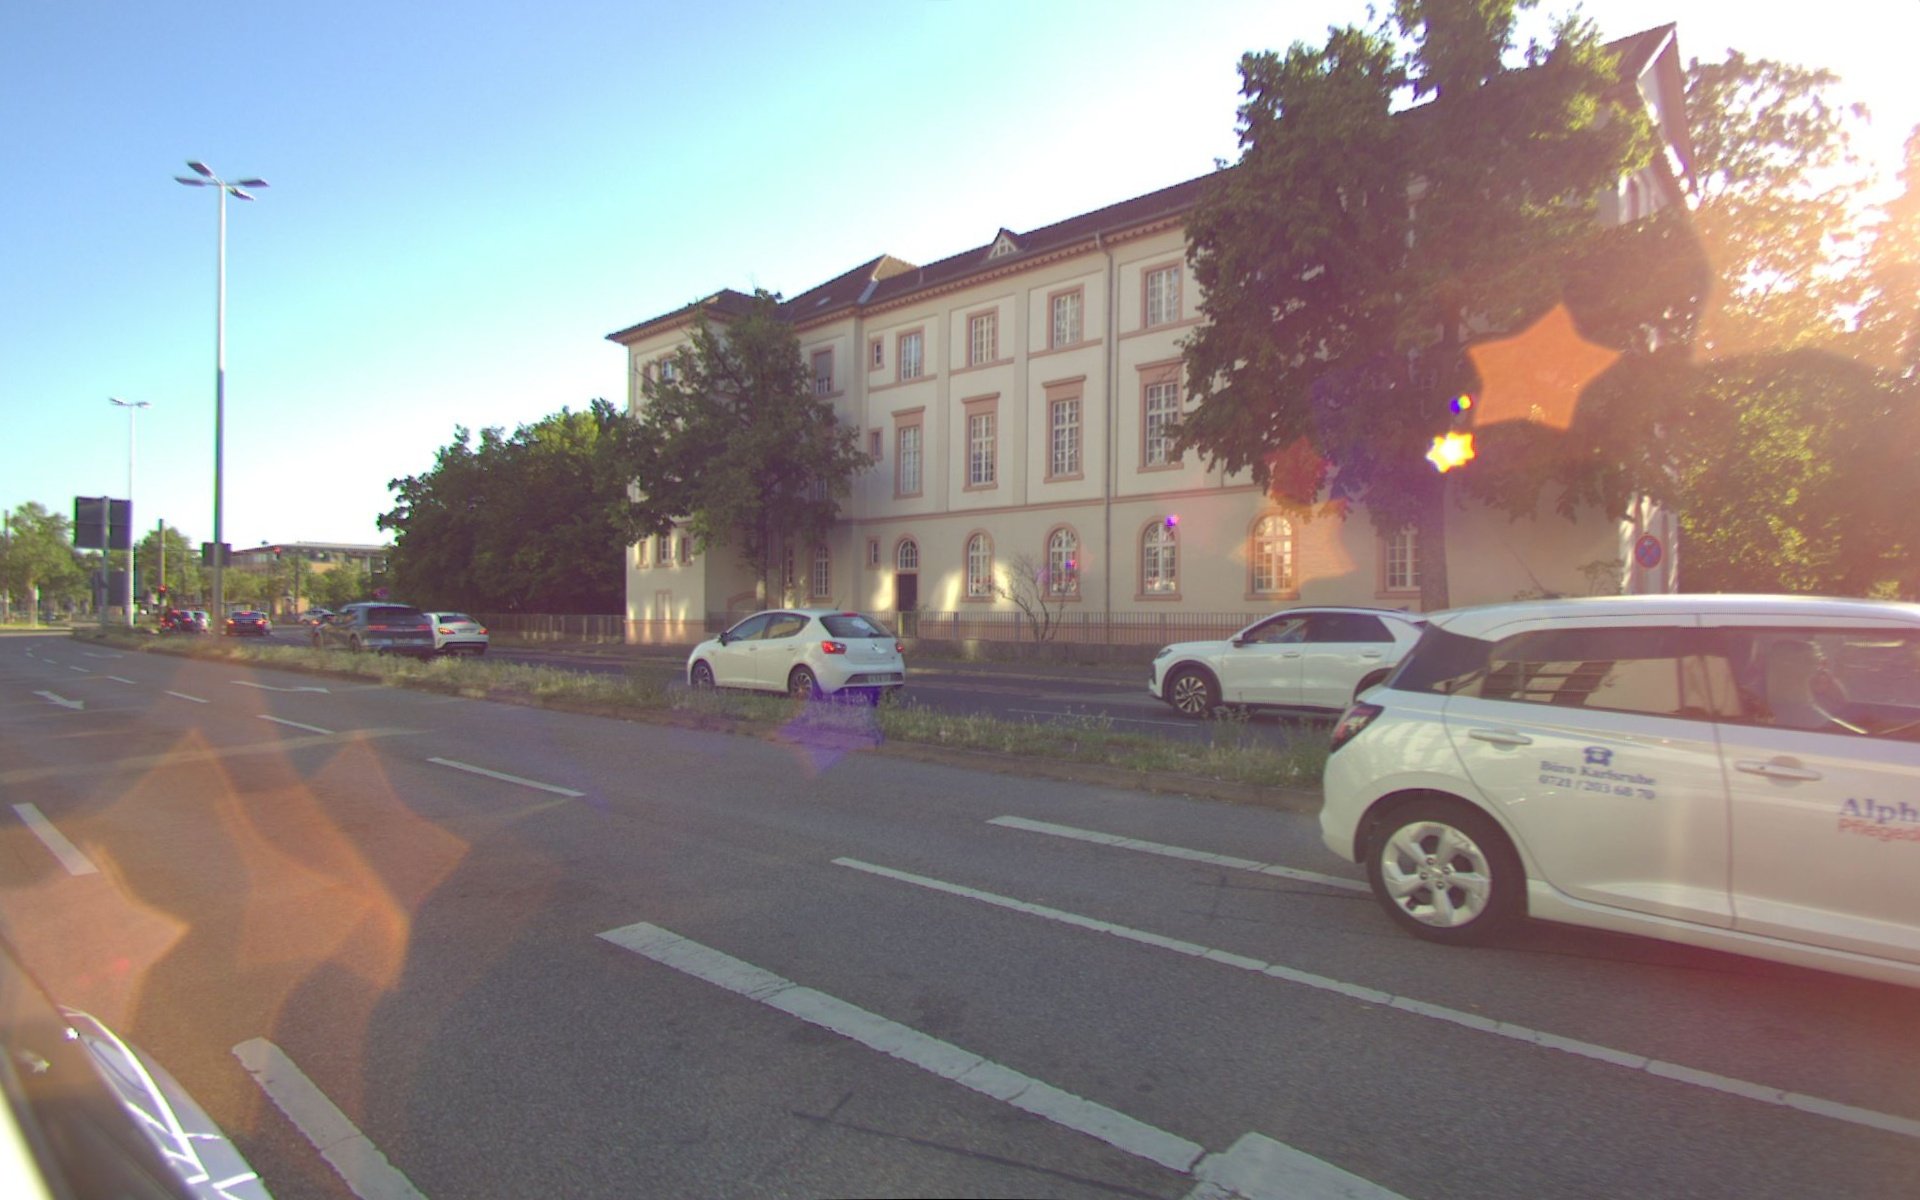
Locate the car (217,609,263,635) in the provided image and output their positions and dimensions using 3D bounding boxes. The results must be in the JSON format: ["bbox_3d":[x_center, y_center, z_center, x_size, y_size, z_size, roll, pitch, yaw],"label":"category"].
[{"bbox_3d":[-43.381,1.330,60.922,1.968,1.507,5.302,1,-2,-38],"label":"car"}]

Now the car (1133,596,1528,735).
[{"bbox_3d":[4.641,0.755,13.098,4.510,1.510,1.668,-1,-2,40],"label":"car"}]

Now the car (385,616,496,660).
[{"bbox_3d":[-17.942,1.283,34.862,4.443,1.424,1.972,-1,-2,42],"label":"car"}]

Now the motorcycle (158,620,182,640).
[{"bbox_3d":[-46.258,1.735,59.257,0.847,1.116,2.477,1,-2,-32],"label":"motorcycle"}]

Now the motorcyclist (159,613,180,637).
[{"bbox_3d":[-46.220,1.455,59.178,0.840,1.409,1.064,1,-2,-32],"label":"motorcyclist"}]

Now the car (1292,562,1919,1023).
[{"bbox_3d":[3.557,0.617,3.905,3.999,1.468,1.667,-1,-1,42],"label":"car"}]

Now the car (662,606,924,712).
[{"bbox_3d":[-2.628,0.820,15.371,4.178,1.403,1.667,-1,-2,41],"label":"car"}]

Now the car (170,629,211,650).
[{"bbox_3d":[-51.984,2.645,68.440,1.695,1.306,4.261,1,-1,-31],"label":"car"}]

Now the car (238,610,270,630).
[{"bbox_3d":[-47.043,1.327,67.470,1.695,1.329,3.904,1,-2,-34],"label":"car"}]

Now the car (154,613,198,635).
[{"bbox_3d":[-48.704,1.483,62.943,1.695,1.306,4.389,1,-1,-32],"label":"car"}]

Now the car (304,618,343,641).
[{"bbox_3d":[-41.193,1.894,65.503,1.829,1.475,4.009,0,-1,-37],"label":"car"}]

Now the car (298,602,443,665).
[{"bbox_3d":[-16.265,0.880,27.819,4.896,1.590,1.973,-1,-1,41],"label":"car"}]

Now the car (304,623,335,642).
[{"bbox_3d":[-44.929,2.256,70.981,1.695,1.306,3.904,1,-2,-34],"label":"car"}]
